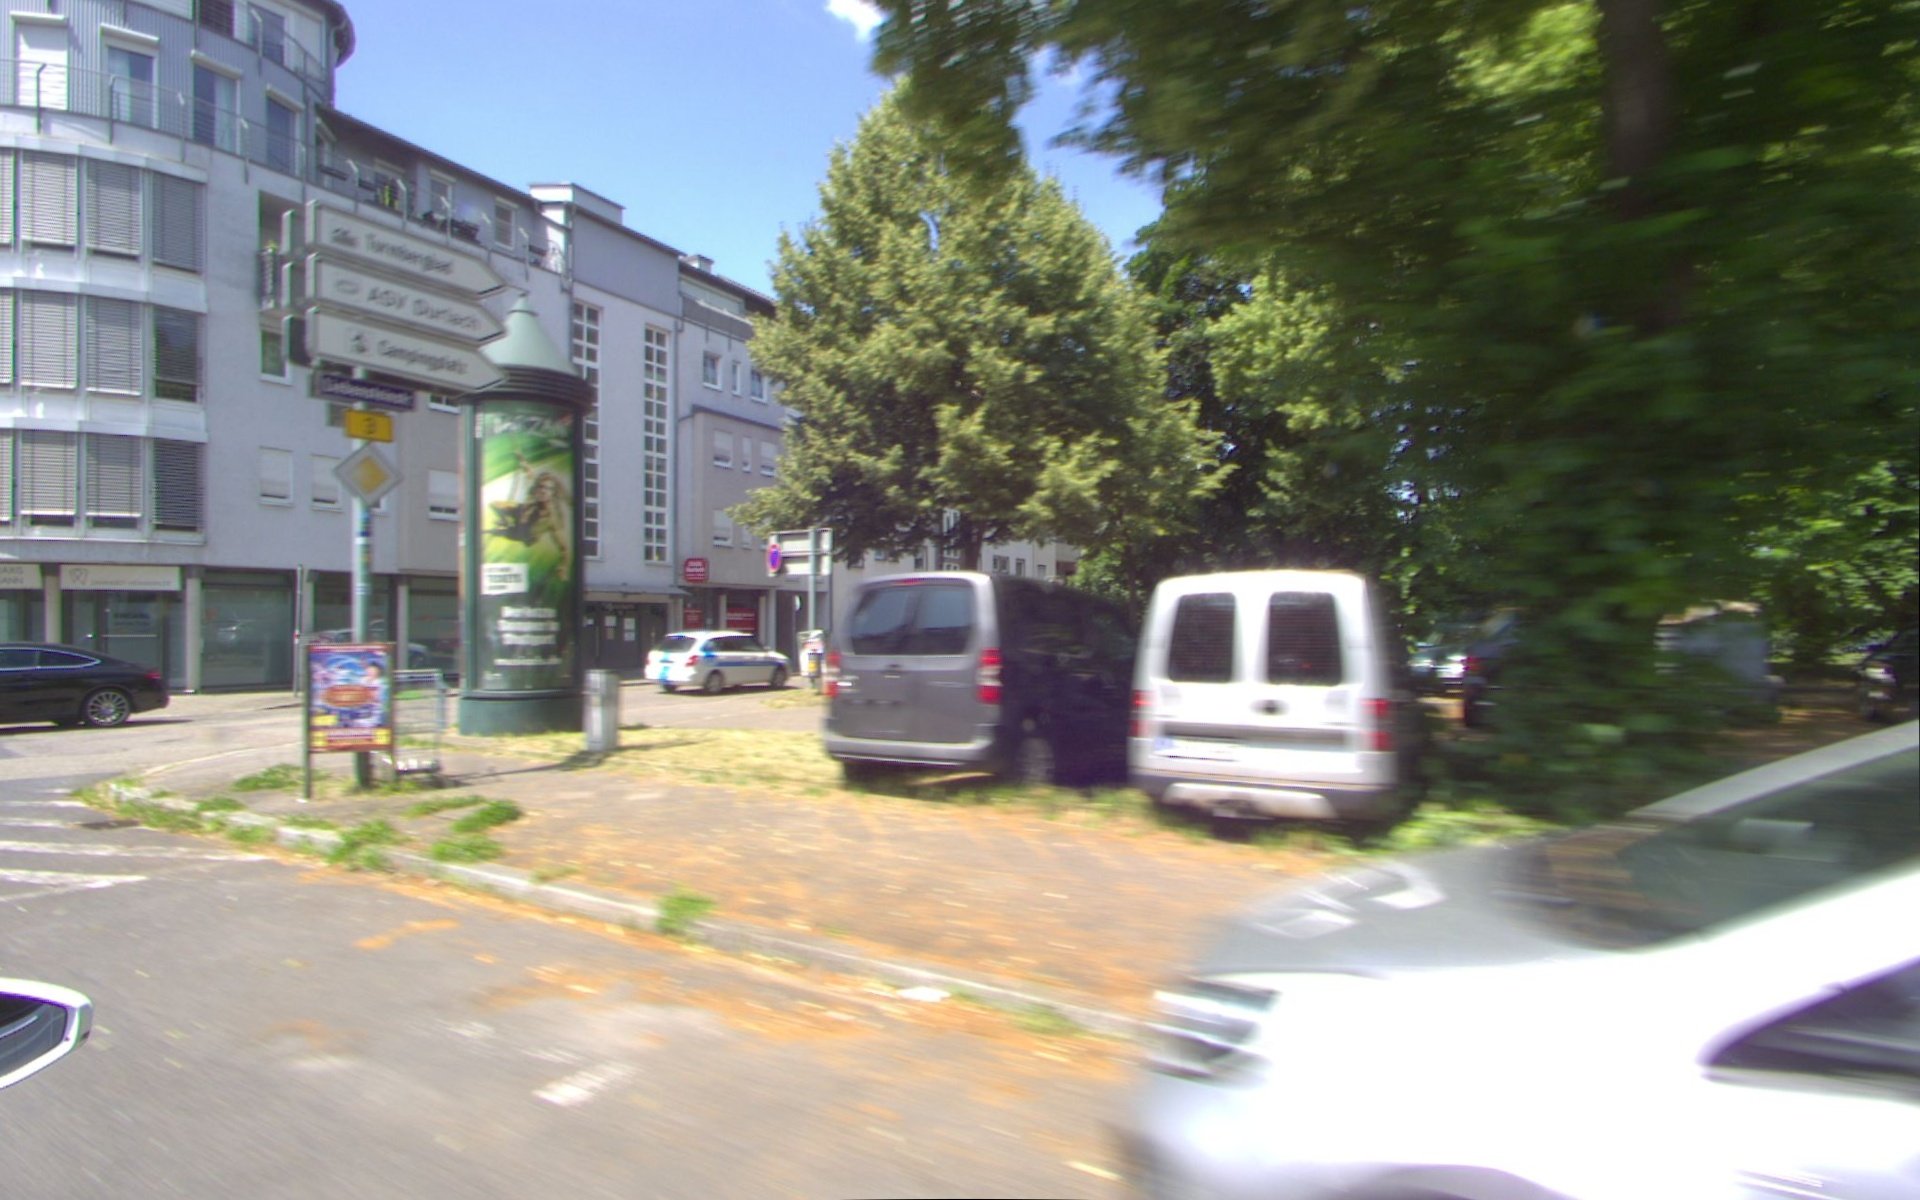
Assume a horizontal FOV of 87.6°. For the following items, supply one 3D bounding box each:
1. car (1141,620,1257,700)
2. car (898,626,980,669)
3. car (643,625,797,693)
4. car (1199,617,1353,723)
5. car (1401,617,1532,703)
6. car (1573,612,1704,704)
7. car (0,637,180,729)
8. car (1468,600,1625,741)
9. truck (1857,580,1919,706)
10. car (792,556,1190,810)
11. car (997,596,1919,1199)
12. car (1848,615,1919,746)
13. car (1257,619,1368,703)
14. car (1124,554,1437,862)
[{"bbox_3d":[5.276,1.244,21.866,1.568,1.574,3.376,-1,-1,30],"label":"car"},{"bbox_3d":[-0.811,2.009,42.642,1.602,1.757,4.370,-1,-3,28],"label":"car"},{"bbox_3d":[-5.995,1.473,25.436,1.546,1.574,3.985,-1,-3,29],"label":"car"},{"bbox_3d":[5.445,1.083,16.939,1.656,1.548,3.982,-1,-1,30],"label":"car"},{"bbox_3d":[9.924,1.160,19.482,1.667,1.486,3.891,-1,-3,36],"label":"car"},{"bbox_3d":[12.137,0.975,18.114,1.712,1.478,3.792,-1,-1,31],"label":"car"},{"bbox_3d":[-15.284,1.266,15.585,1.970,1.382,4.577,-1,-2,30],"label":"car"},{"bbox_3d":[8.234,0.896,14.231,1.676,1.700,3.983,-1,-1,29],"label":"car"},{"bbox_3d":[16.152,0.672,16.334,1.714,1.906,3.789,-1,-1,34],"label":"truck"},{"bbox_3d":[0.523,0.678,9.236,1.987,1.772,3.982,-1,-3,31],"label":"car"},{"bbox_3d":[2.147,0.767,1.607,3.836,1.504,1.764,-1,-3,33],"label":"car"},{"bbox_3d":[12.272,0.932,11.986,1.656,1.502,3.982,-1,-1,30],"label":"car"},{"bbox_3d":[7.408,1.207,20.875,1.568,1.574,3.376,-1,-1,30],"label":"car"},{"bbox_3d":[2.613,0.646,7.547,1.638,1.688,3.762,-1,-1,28],"label":"car"}]
